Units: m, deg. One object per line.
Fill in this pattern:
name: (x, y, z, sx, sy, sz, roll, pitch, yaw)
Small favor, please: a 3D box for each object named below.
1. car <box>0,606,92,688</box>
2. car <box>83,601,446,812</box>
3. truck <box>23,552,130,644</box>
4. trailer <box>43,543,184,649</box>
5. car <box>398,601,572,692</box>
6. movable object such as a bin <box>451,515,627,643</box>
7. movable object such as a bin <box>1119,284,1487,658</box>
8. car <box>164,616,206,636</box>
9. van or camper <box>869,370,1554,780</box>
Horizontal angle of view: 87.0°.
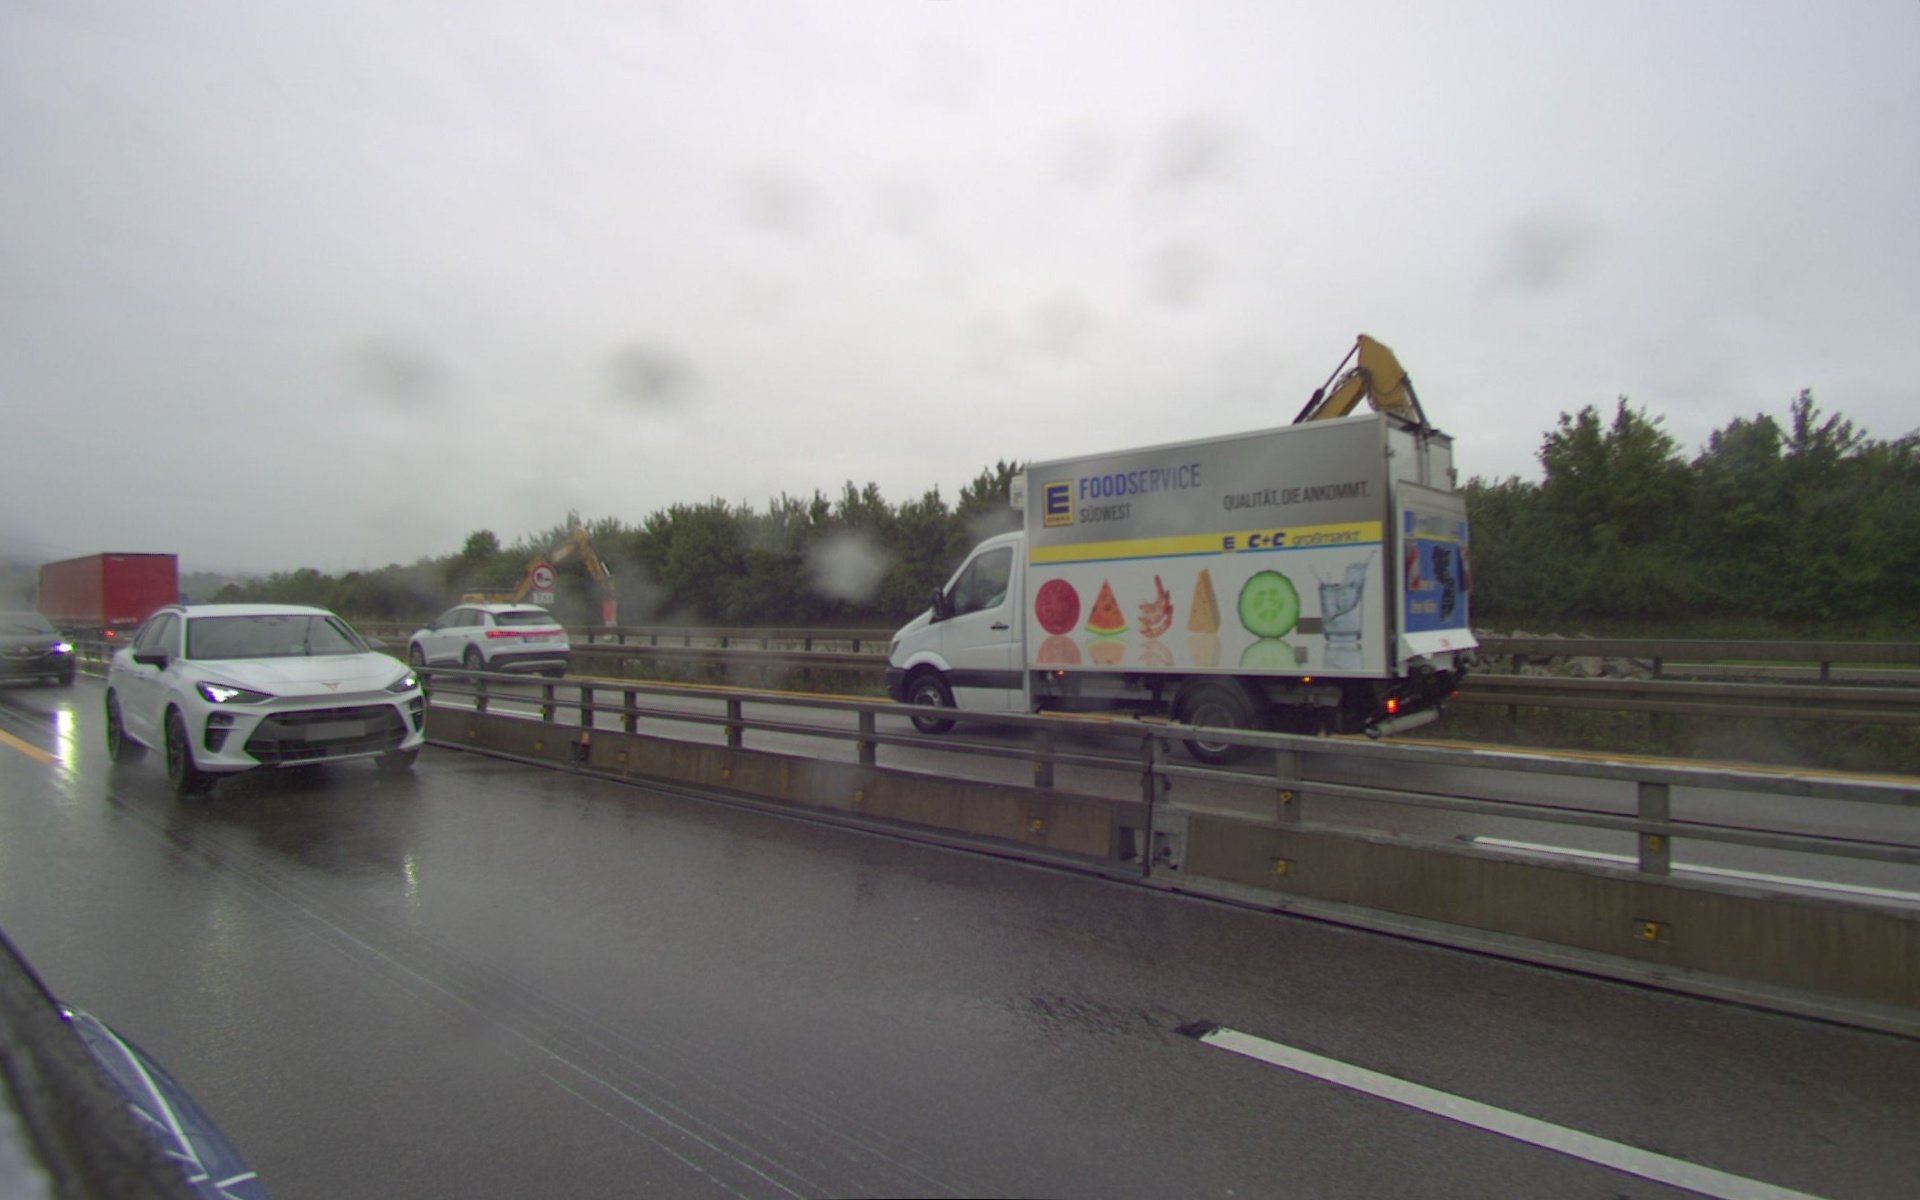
car: (-20.952, 0.967, 22.365, 5.194, 1.640, 2.042, -1, -1, 42)
car: (-7.041, 0.818, 9.986, 5.006, 1.562, 1.906, -1, 0, 43)
truck: (-44.350, -0.024, 50.750, 6.795, 4.304, 2.977, -1, -2, 40)
trailer: (-38.501, -0.085, 45.809, 11.050, 4.327, 2.946, -1, -2, 40)
car: (-10.052, 0.887, 21.253, 4.541, 1.681, 1.619, 0, 1, 41)
movable object such as a bin: (-22.103, -0.995, 52.628, 11.044, 5.959, 4.126, 0, 1, 43)
movable object such as a bin: (8.667, -2.840, 26.375, 8.307, 8.204, 3.558, 0, 1, 42)
car: (-78.959, 2.604, 103.038, 5.356, 1.981, 2.074, -1, -1, 37)
van or camper: (2.196, -0.191, 10.650, 6.696, 3.064, 2.270, 0, 1, 41)
